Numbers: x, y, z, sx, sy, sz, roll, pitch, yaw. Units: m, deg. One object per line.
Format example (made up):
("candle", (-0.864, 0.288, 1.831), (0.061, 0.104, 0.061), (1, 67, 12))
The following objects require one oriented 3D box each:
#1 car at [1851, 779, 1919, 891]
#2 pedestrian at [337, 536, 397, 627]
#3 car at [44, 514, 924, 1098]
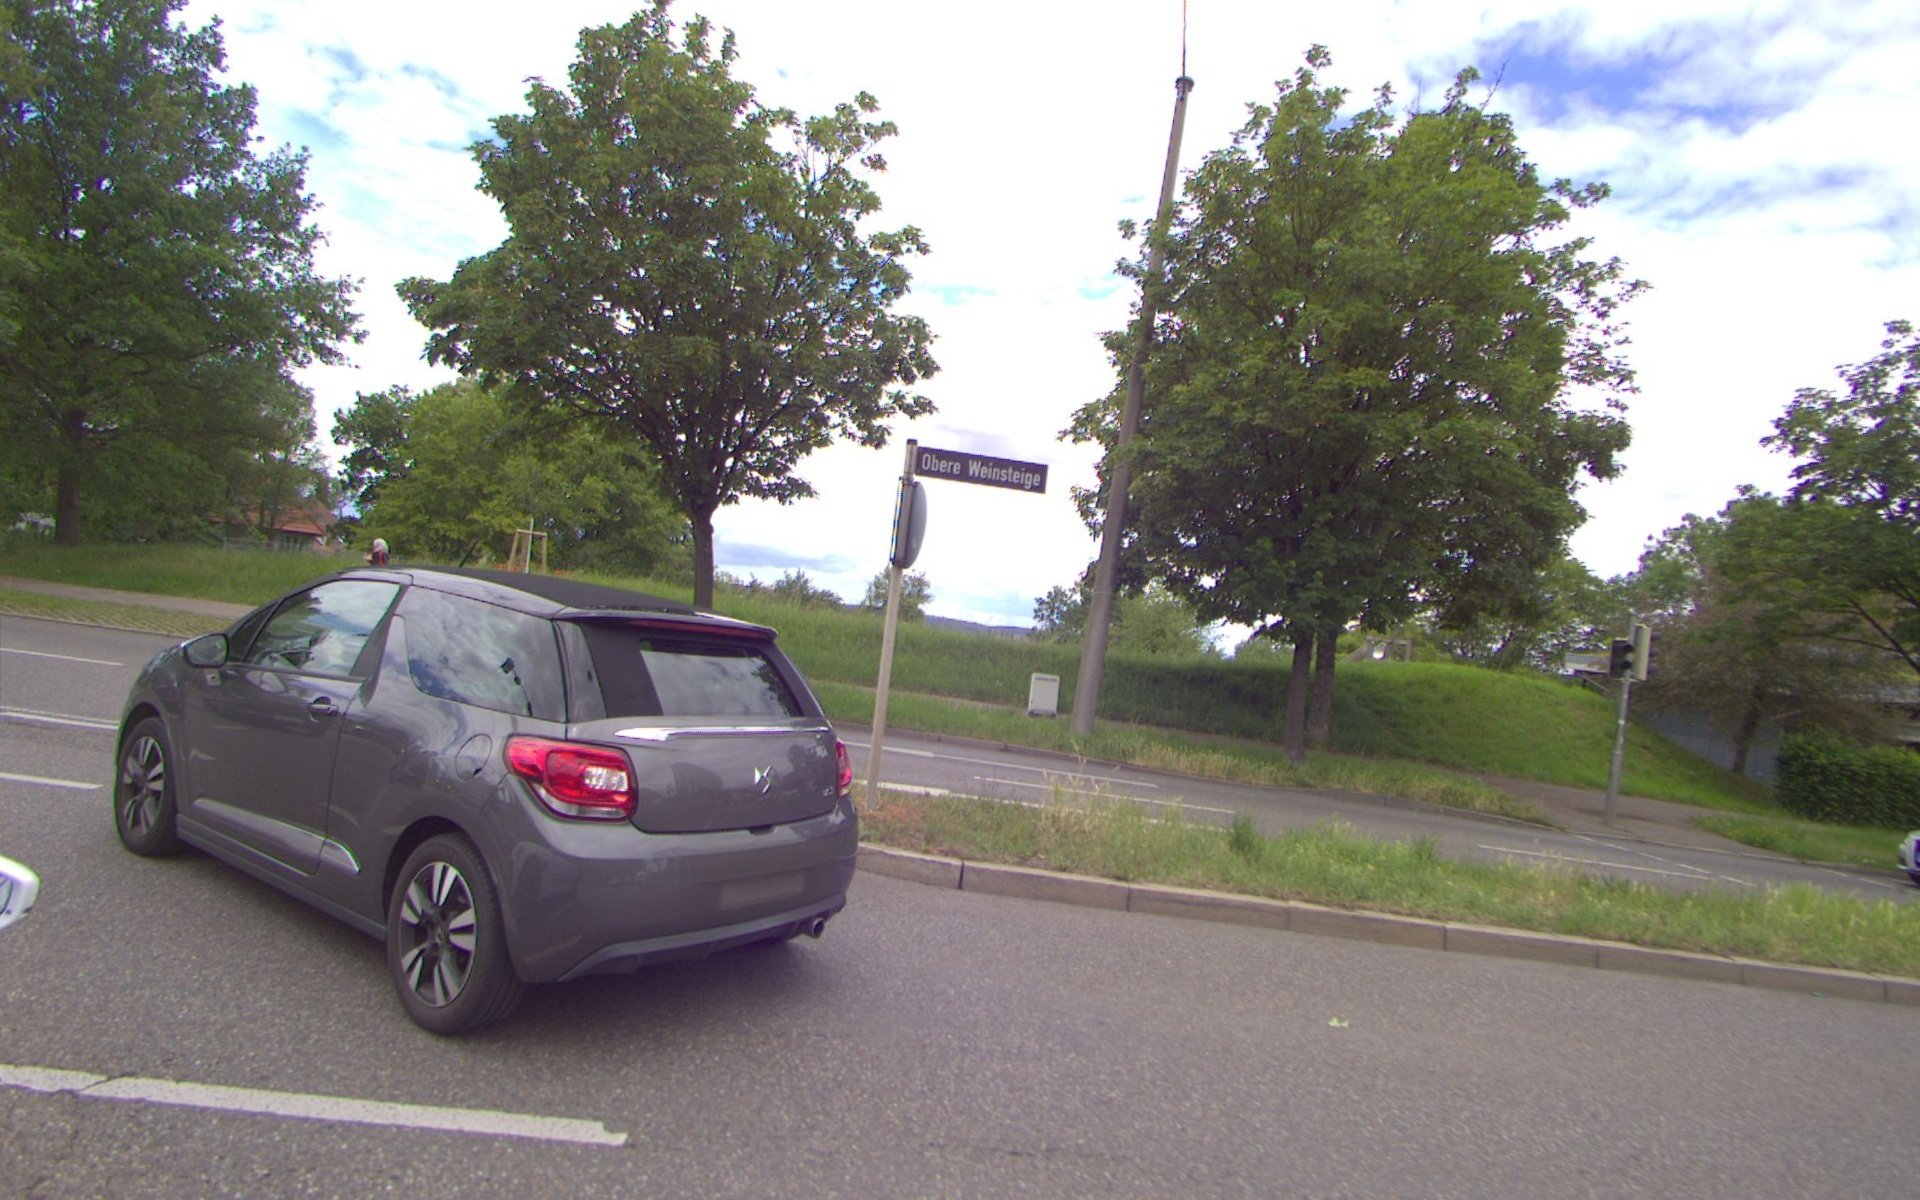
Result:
("car", (15.799, 3.707, 14.577), (4.085, 1.459, 1.990), (8, -2, -5))
("pedestrian", (-11.313, -0.361, 19.190), (0.690, 1.626, 0.541), (8, 4, -4))
("car", (-2.344, 0.559, 4.593), (3.997, 1.477, 1.703), (6, -3, 34))
